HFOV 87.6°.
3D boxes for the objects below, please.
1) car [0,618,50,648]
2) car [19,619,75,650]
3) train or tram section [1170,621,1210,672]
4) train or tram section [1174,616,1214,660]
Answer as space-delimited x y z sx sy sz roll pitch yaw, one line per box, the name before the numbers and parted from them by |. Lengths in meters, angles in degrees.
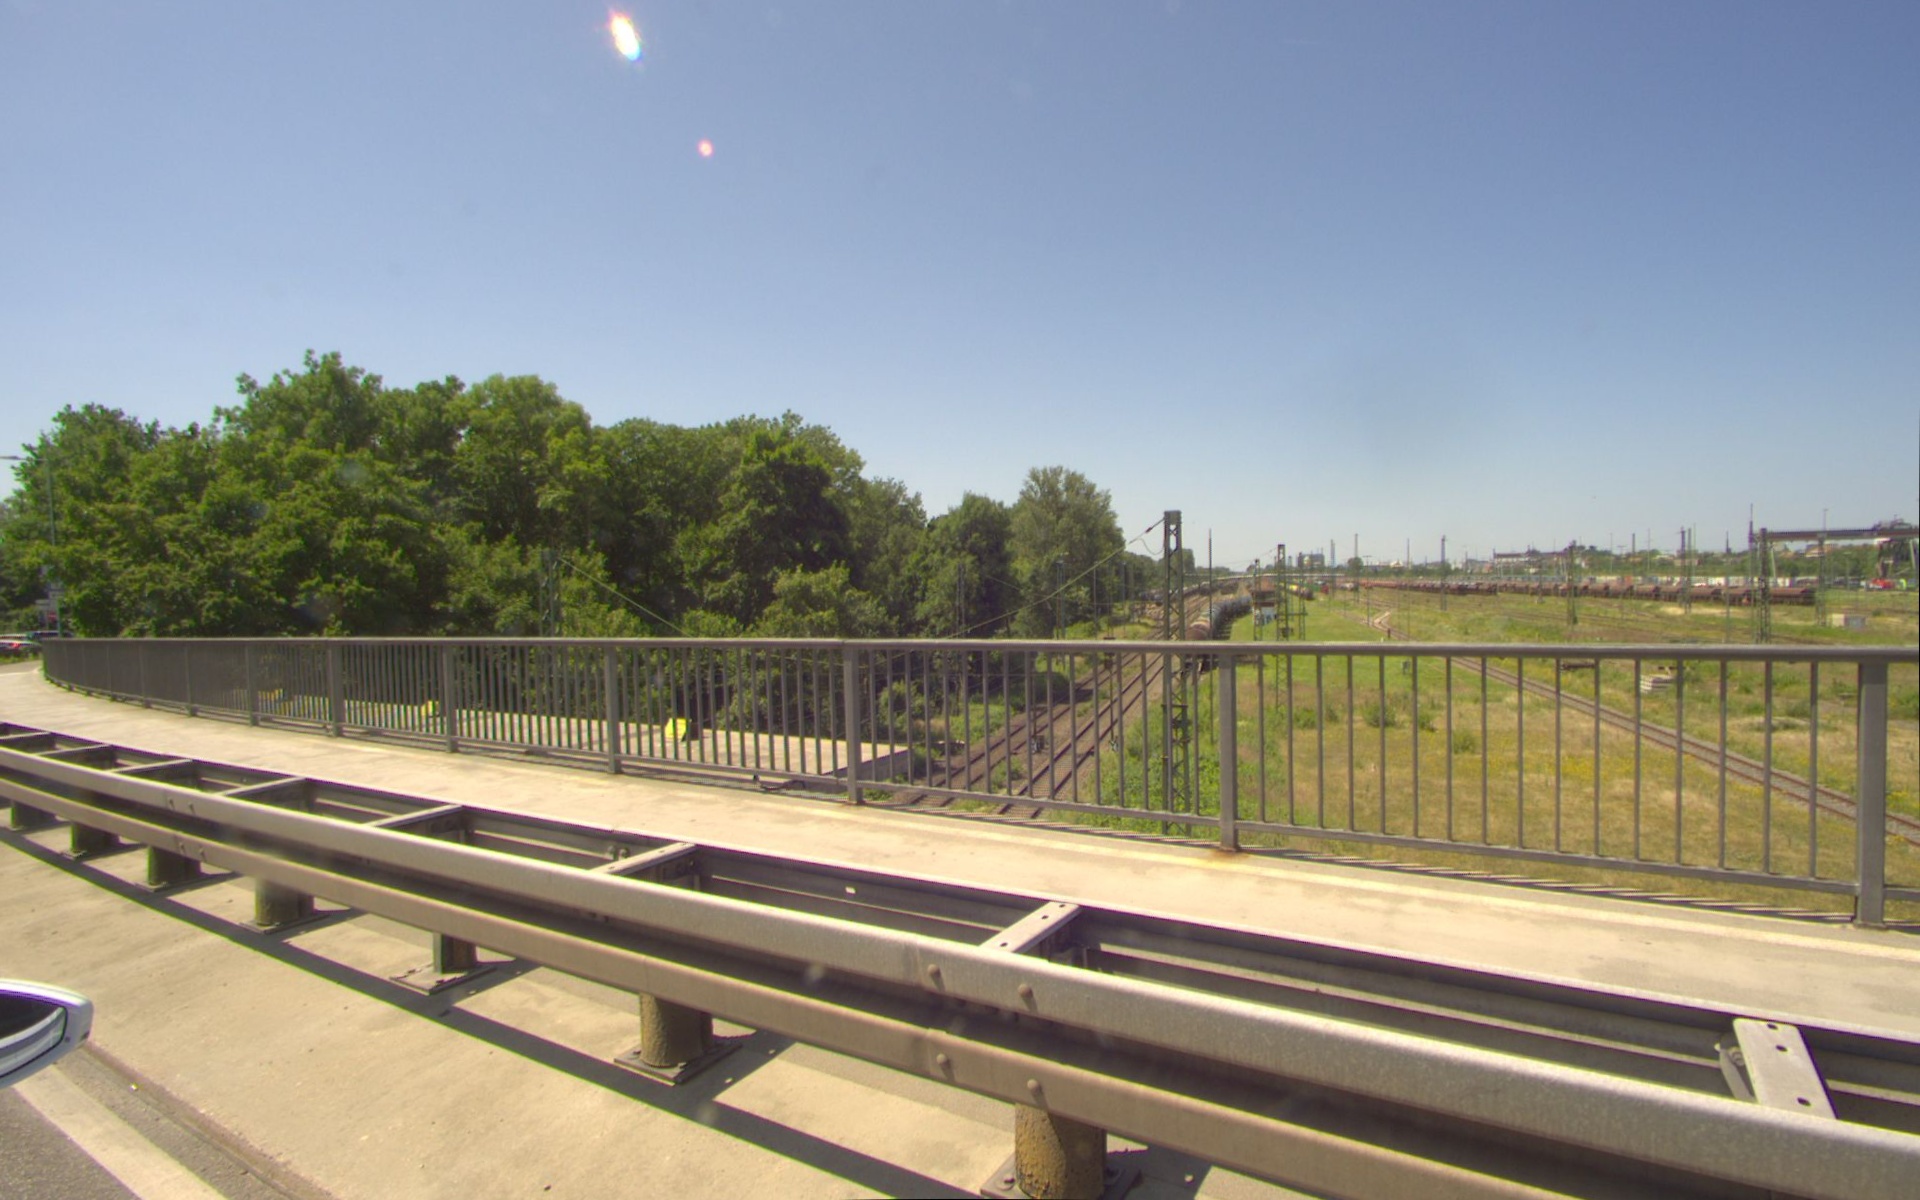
car | -52.898 1.866 56.154 1.972 1.594 3.981 2 -4 -31
car | -56.303 2.130 61.804 1.666 1.783 3.982 0 -2 -29
train or tram section | 24.661 4.830 106.975 3.781 4.366 13.612 -2 1 14
train or tram section | 28.208 4.439 120.157 3.783 4.366 13.605 -2 1 17
